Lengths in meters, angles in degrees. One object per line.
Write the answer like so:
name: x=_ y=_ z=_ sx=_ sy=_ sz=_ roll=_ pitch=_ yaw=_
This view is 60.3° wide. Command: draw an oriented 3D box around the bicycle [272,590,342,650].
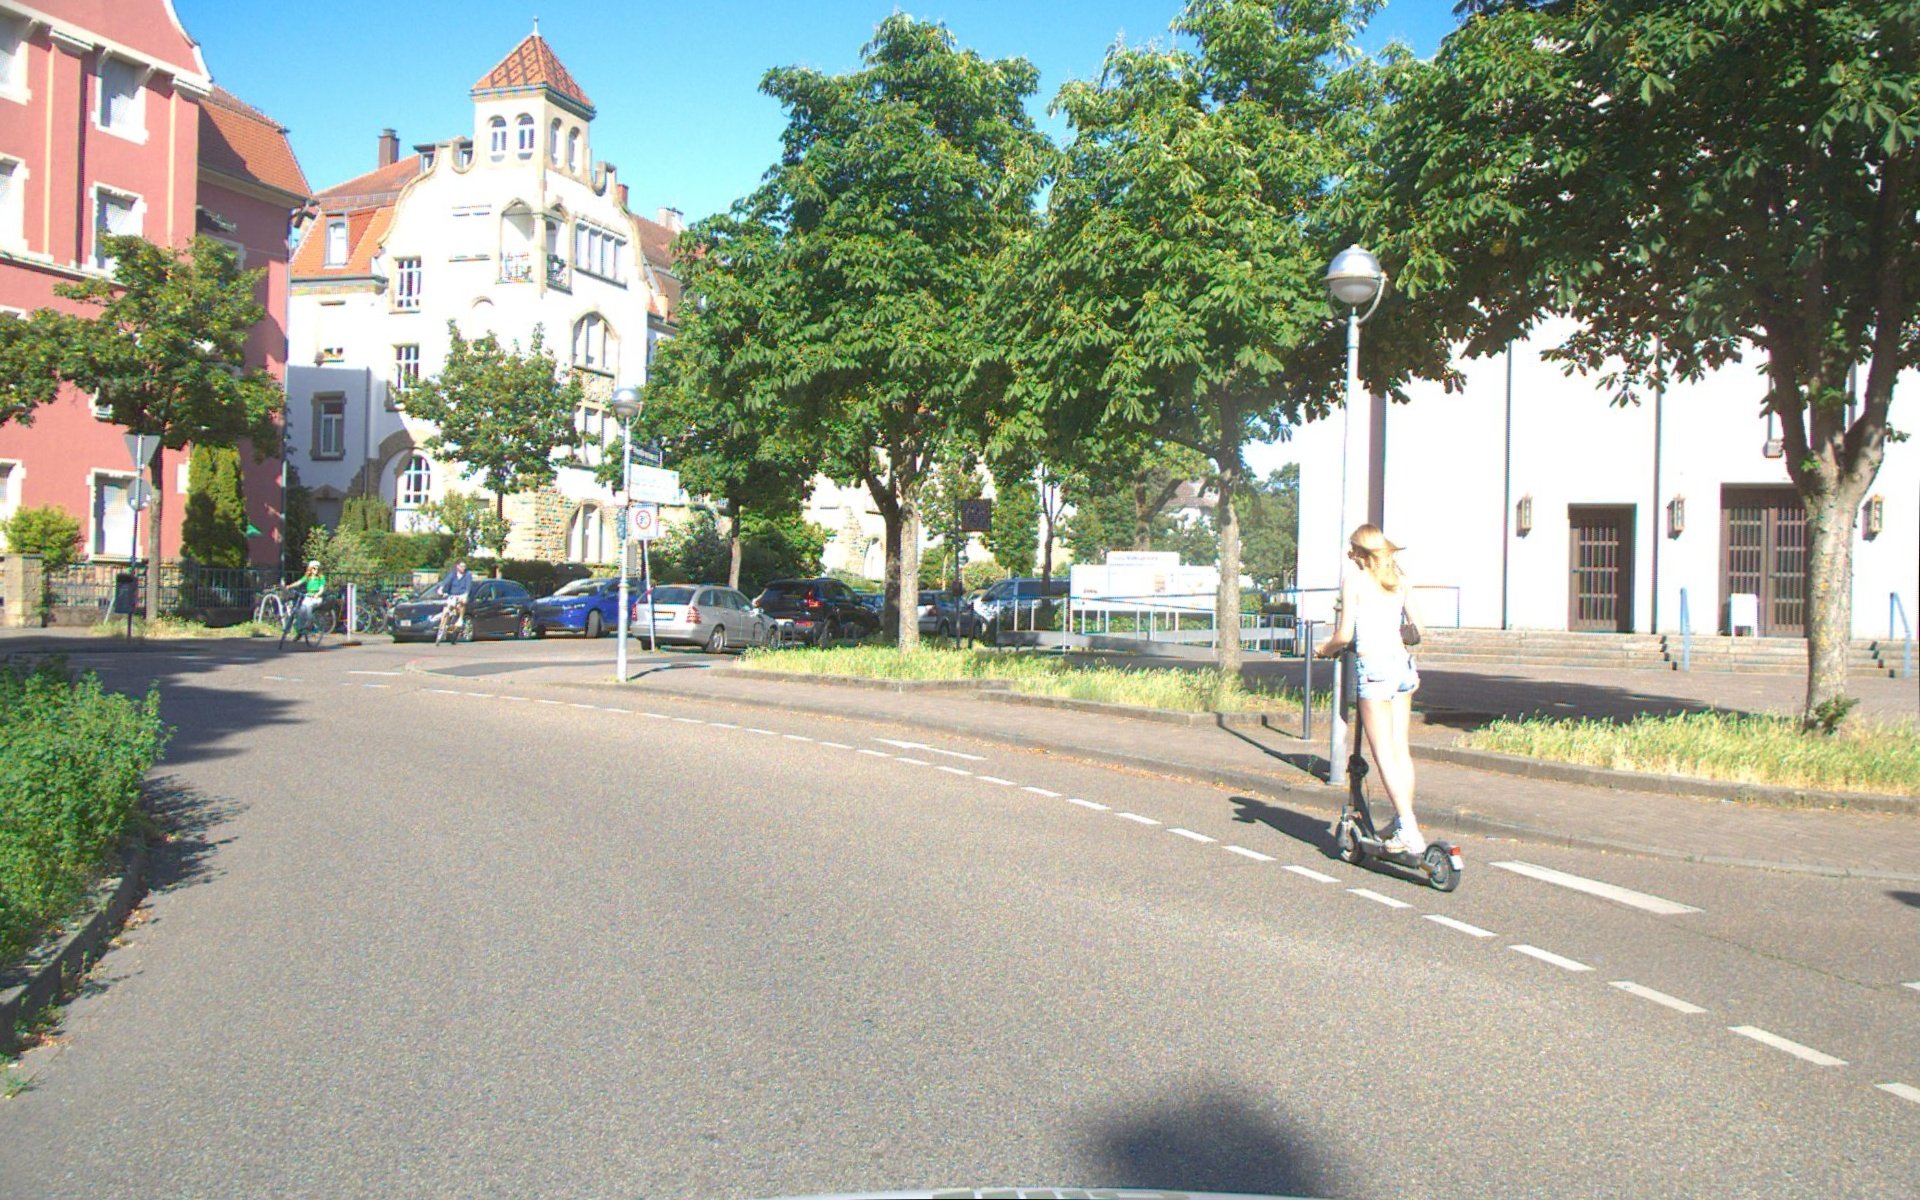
bicycle: x=-12.741 y=0.381 z=32.318 sx=0.581 sy=1.127 sz=1.864 roll=0 pitch=0 yaw=1

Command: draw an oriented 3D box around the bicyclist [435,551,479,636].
bicyclist: x=-10.469 y=-0.130 z=34.468 sx=0.630 sy=1.744 sz=0.723 roll=1 pitch=-1 yaw=4

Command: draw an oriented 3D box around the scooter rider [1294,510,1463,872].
scooter rider: x=2.246 y=0.471 z=8.922 sx=0.613 sy=1.864 sz=0.629 roll=1 pitch=0 yaw=-17

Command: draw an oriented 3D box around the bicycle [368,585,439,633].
bicycle: x=-14.237 y=0.226 z=42.324 sx=1.685 sy=1.126 sz=0.516 roll=3 pitch=1 yaw=17

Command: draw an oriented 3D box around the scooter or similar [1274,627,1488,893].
scooter or similar: x=2.243 y=0.819 z=8.924 sx=0.620 sy=1.305 sz=1.101 roll=1 pitch=0 yaw=-17

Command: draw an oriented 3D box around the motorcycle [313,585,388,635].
motorcycle: x=-14.826 y=0.236 z=40.240 sx=1.685 sy=1.126 sz=0.501 roll=3 pitch=1 yaw=13

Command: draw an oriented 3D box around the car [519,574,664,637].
car: x=-9.861 y=0.145 z=44.597 sx=1.766 sy=1.589 sz=4.400 roll=-1 pitch=0 yaw=19

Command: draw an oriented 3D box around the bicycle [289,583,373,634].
bicycle: x=-15.055 y=0.204 z=39.591 sx=1.786 sy=1.126 sz=0.501 roll=3 pitch=1 yaw=4

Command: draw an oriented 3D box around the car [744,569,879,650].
car: x=-3.483 y=0.218 z=39.664 sx=1.766 sy=1.758 sz=4.341 roll=2 pitch=0 yaw=15

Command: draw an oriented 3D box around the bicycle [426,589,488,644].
bicycle: x=-10.472 y=0.343 z=34.477 sx=0.630 sy=1.127 sz=1.718 roll=1 pitch=-1 yaw=4

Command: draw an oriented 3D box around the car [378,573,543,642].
car: x=-11.812 y=0.173 z=39.423 sx=1.765 sy=1.509 sz=4.342 roll=-1 pitch=0 yaw=15

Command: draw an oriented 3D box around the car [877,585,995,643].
car: x=-0.623 y=0.396 z=47.174 sx=1.767 sy=1.499 sz=4.337 roll=2 pitch=0 yaw=23

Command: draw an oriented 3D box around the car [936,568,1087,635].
car: x=1.724 y=0.035 z=54.777 sx=4.663 sy=2.036 sz=1.811 roll=2 pitch=0 yaw=16

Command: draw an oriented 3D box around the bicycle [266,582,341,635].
bicycle: x=-15.423 y=0.199 z=38.856 sx=1.686 sy=1.134 sz=0.546 roll=3 pitch=1 yaw=20

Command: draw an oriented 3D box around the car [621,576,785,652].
car: x=-5.343 y=0.287 z=34.983 sx=1.766 sy=1.440 sz=4.341 roll=2 pitch=0 yaw=15

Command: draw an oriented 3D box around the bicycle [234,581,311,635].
bicycle: x=-15.779 y=0.176 z=37.954 sx=1.686 sy=1.134 sz=0.546 roll=3 pitch=1 yaw=20

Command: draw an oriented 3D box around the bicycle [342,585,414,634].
bicycle: x=-14.577 y=0.234 z=41.406 sx=1.685 sy=1.126 sz=0.501 roll=3 pitch=1 yaw=17

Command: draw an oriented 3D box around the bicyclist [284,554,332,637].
bicyclist: x=-12.741 y=-0.090 z=32.325 sx=0.581 sy=1.609 sz=0.804 roll=0 pitch=0 yaw=1

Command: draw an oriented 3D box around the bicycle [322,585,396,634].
bicycle: x=-14.818 y=0.232 z=40.793 sx=1.685 sy=1.126 sz=0.501 roll=3 pitch=1 yaw=13
